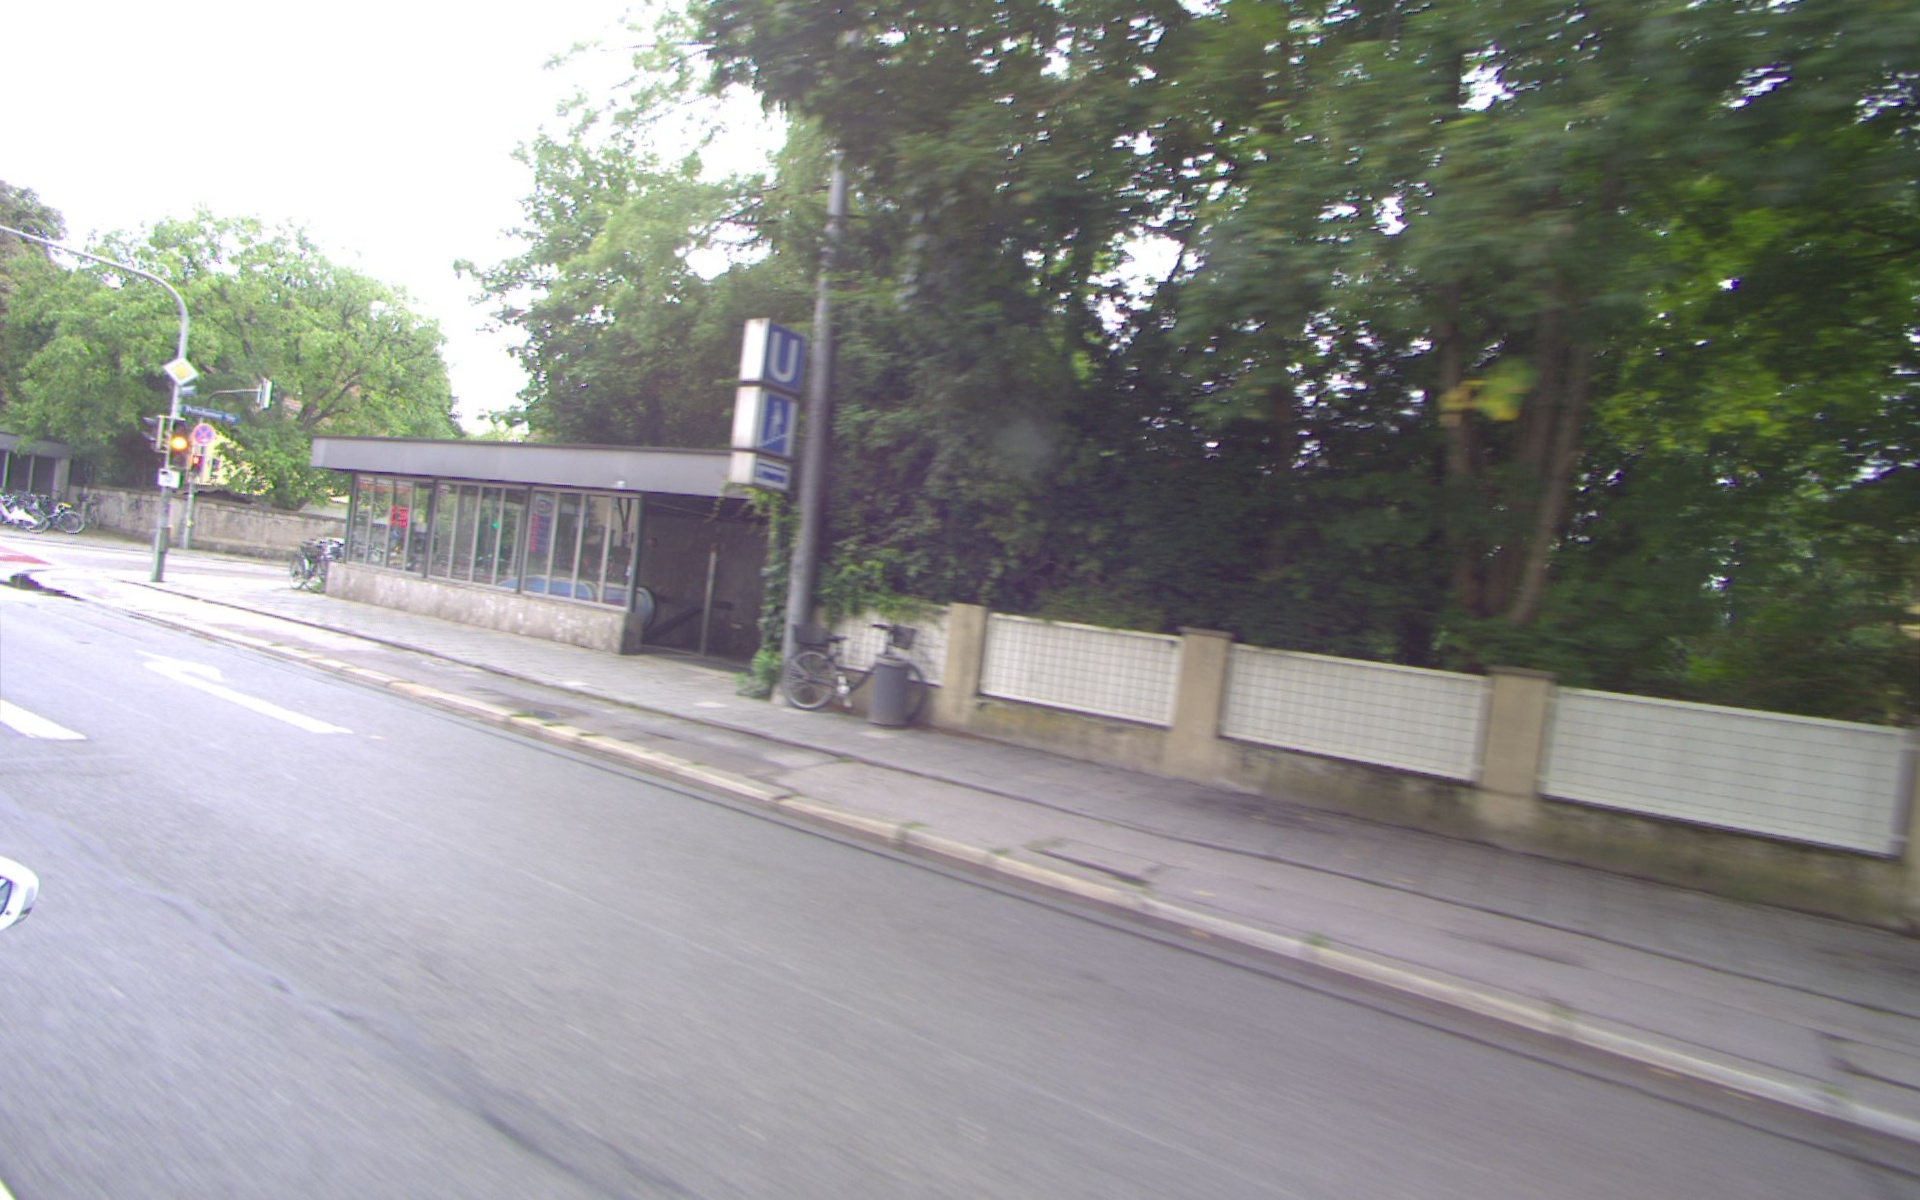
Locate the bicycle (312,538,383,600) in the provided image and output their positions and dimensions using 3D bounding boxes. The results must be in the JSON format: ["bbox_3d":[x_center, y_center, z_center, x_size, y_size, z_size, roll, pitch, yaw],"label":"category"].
[{"bbox_3d":[-12.791,-0.658,21.003,1.707,1.135,0.469,6,0,32],"label":"bicycle"}]

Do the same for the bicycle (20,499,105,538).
[{"bbox_3d":[-32.176,-2.920,36.104,0.625,1.026,2.141,8,0,40],"label":"bicycle"}]

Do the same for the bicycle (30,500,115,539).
[{"bbox_3d":[-31.499,-2.836,35.738,0.625,1.026,2.141,8,0,40],"label":"bicycle"}]

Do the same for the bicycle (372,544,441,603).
[{"bbox_3d":[-12.145,-0.590,22.043,1.707,1.135,0.469,6,0,32],"label":"bicycle"}]

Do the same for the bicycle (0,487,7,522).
[{"bbox_3d":[-33.707,-3.393,33.934,0.594,1.192,2.141,8,0,40],"label":"bicycle"}]

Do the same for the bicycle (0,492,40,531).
[{"bbox_3d":[-31.765,-3.003,33.047,0.594,1.114,2.141,8,0,40],"label":"bicycle"}]

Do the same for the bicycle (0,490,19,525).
[{"bbox_3d":[-33.038,-3.232,33.660,0.594,1.099,2.141,8,0,40],"label":"bicycle"}]

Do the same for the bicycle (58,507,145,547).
[{"bbox_3d":[-29.496,-2.492,34.611,0.625,1.026,2.141,8,0,40],"label":"bicycle"}]

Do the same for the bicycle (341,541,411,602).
[{"bbox_3d":[-12.489,-0.625,21.498,1.707,1.135,0.469,6,0,32],"label":"bicycle"}]

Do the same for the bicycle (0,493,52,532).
[{"bbox_3d":[-31.153,-2.915,32.821,0.594,1.084,2.141,8,0,40],"label":"bicycle"}]

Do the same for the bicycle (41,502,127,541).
[{"bbox_3d":[-30.800,-2.748,35.391,0.625,1.026,2.141,8,0,40],"label":"bicycle"}]

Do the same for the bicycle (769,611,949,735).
[{"bbox_3d":[-1.187,0.815,11.574,1.992,1.104,0.623,7,0,32],"label":"bicycle"}]

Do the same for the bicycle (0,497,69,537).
[{"bbox_3d":[-30.383,-2.730,32.589,0.625,1.026,2.141,8,0,40],"label":"bicycle"}]

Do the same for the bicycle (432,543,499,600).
[{"bbox_3d":[-11.405,-0.673,23.196,1.707,1.135,0.469,6,0,32],"label":"bicycle"}]

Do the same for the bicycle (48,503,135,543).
[{"bbox_3d":[-30.169,-2.676,34.984,0.625,1.026,2.141,8,0,40],"label":"bicycle"}]

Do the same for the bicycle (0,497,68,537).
[{"bbox_3d":[-29.970,-2.695,32.092,0.594,1.026,2.141,8,0,40],"label":"bicycle"}]

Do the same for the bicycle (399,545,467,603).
[{"bbox_3d":[-11.829,-0.586,22.554,1.707,1.135,0.469,6,0,32],"label":"bicycle"}]

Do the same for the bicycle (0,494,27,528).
[{"bbox_3d":[-32.427,-3.060,33.312,0.594,1.026,2.141,8,0,40],"label":"bicycle"}]

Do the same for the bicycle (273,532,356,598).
[{"bbox_3d":[-13.118,-0.721,20.436,1.859,1.135,0.600,6,0,32],"label":"bicycle"}]
